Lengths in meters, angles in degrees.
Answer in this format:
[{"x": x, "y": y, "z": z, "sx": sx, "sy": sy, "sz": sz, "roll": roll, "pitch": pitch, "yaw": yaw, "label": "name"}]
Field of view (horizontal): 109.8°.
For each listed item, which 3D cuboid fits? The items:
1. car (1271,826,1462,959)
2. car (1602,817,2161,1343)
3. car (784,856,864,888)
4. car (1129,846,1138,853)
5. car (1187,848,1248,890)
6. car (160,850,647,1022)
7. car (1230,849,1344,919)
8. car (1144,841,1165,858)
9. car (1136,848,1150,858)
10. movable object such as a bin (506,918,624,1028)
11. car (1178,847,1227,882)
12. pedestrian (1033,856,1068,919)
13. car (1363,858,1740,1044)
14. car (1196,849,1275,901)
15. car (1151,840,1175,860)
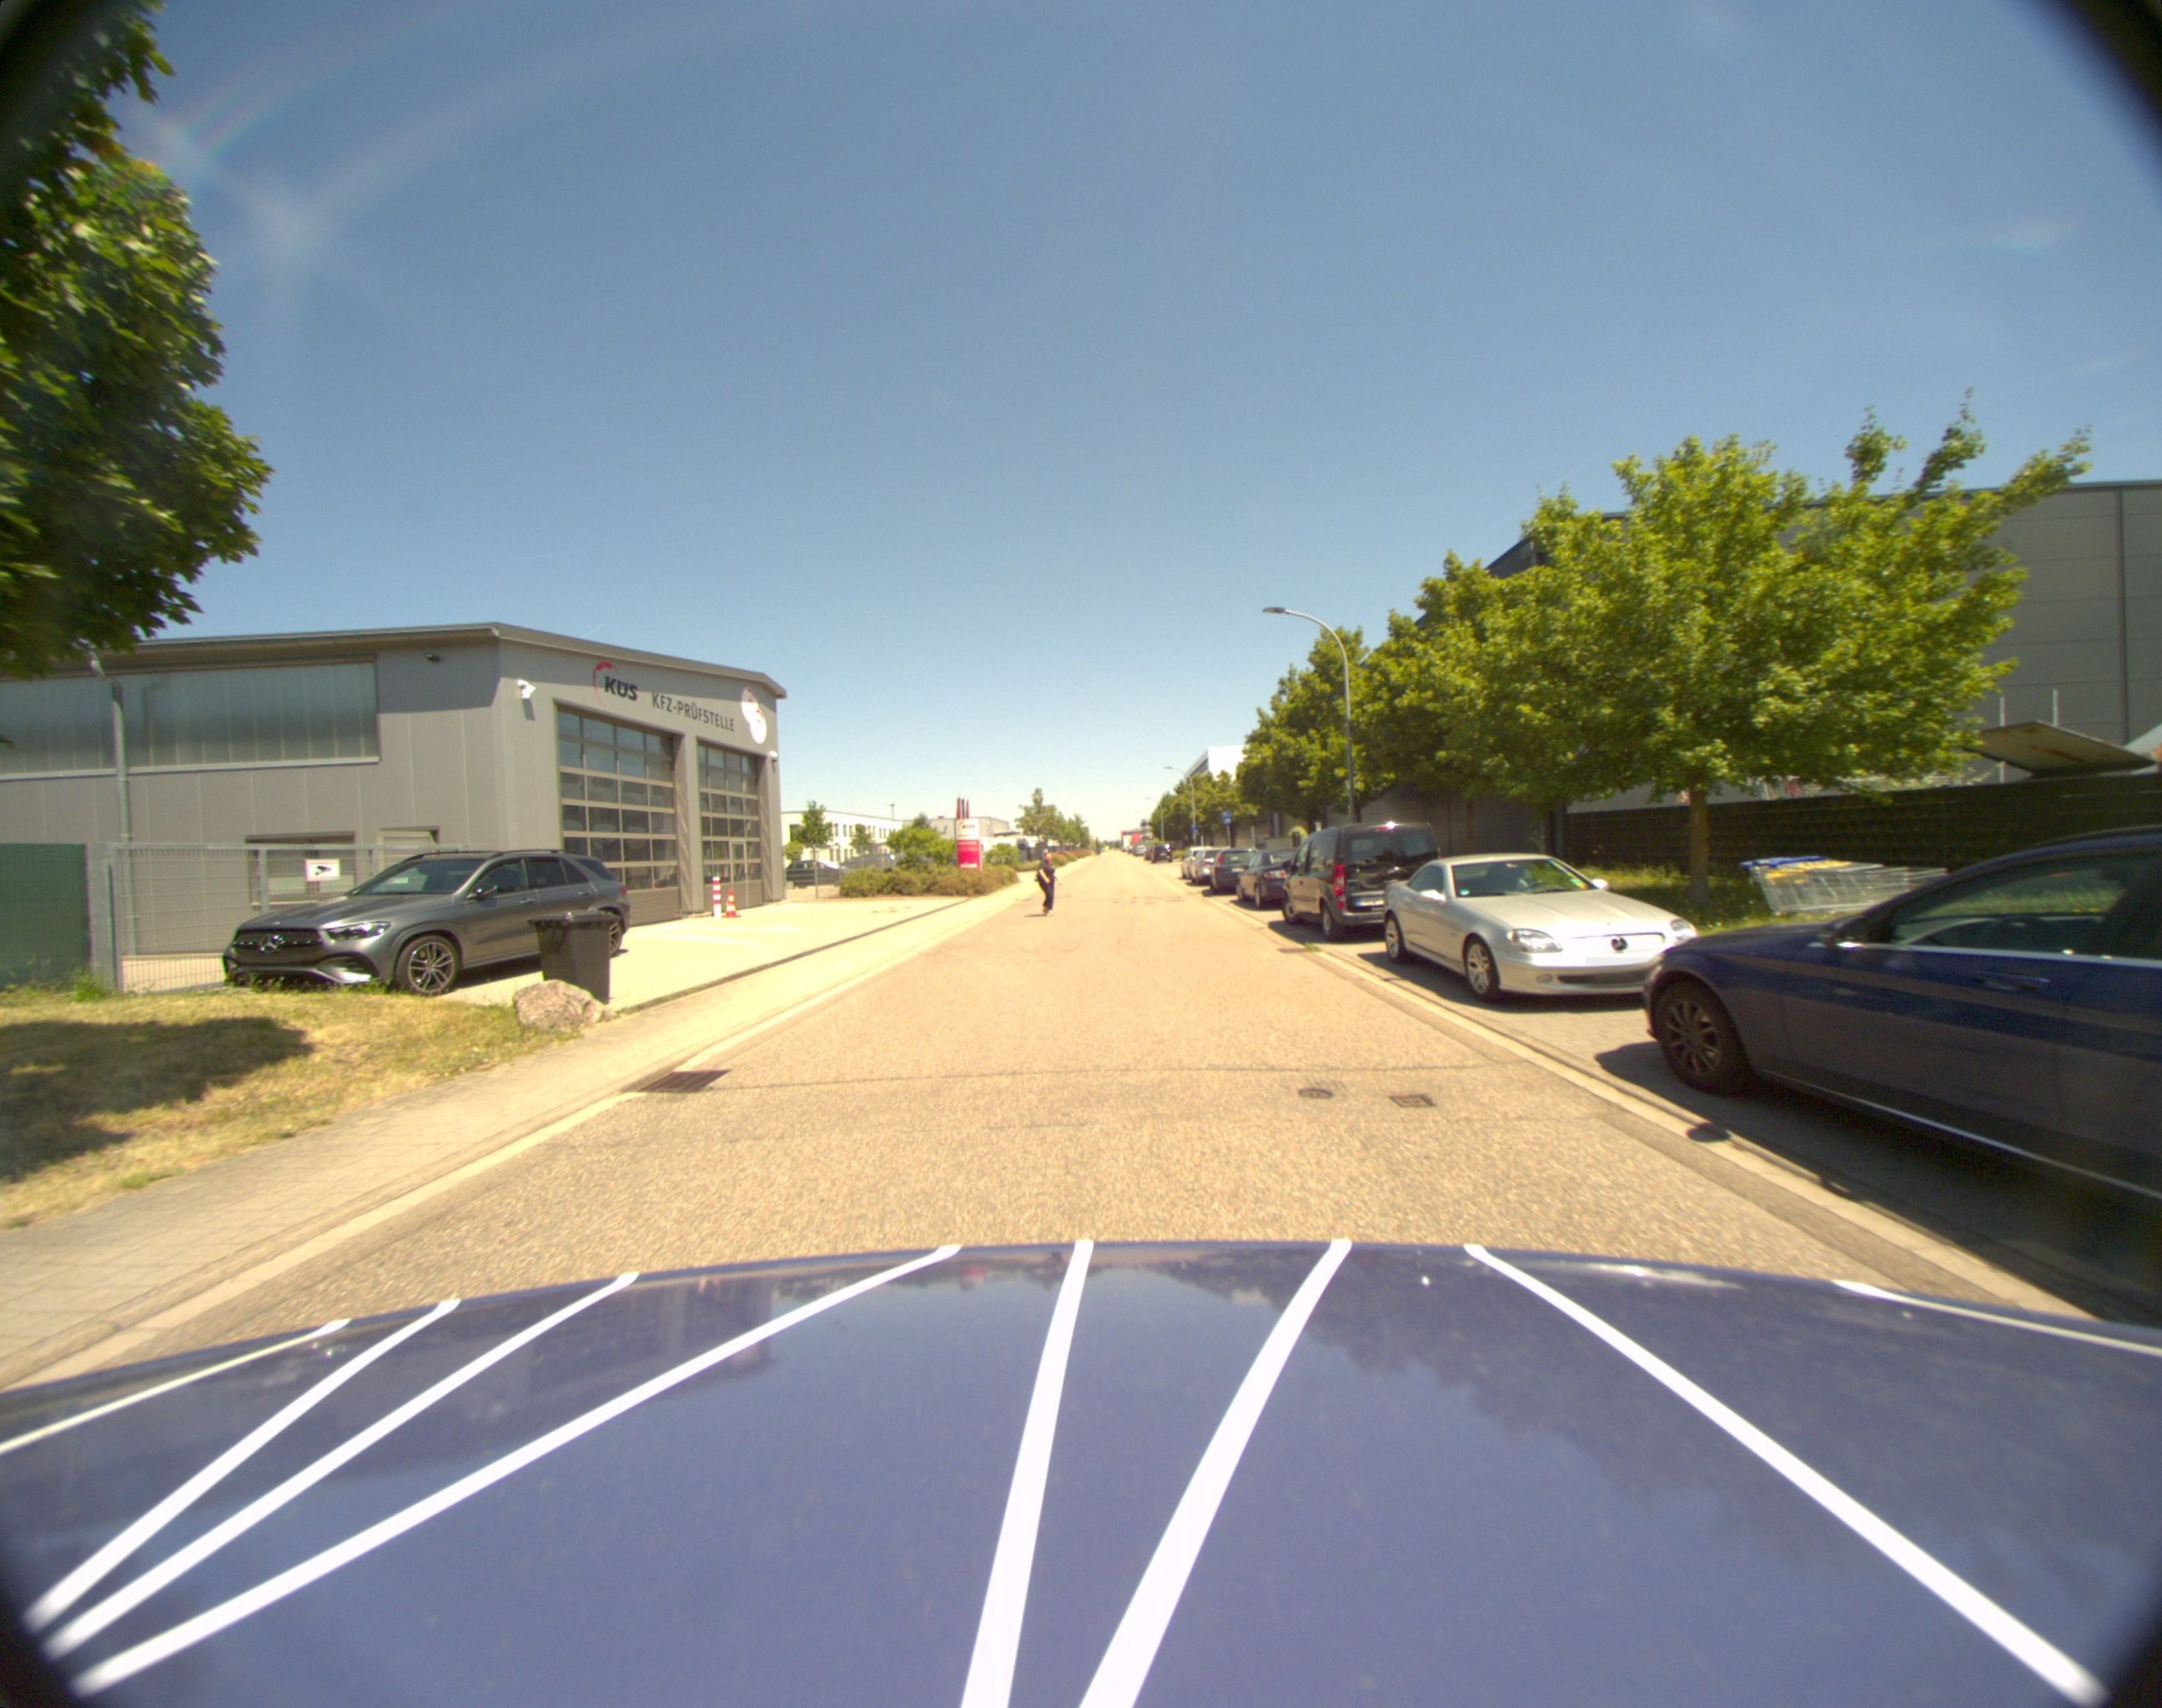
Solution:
[{"x": 4.593, "y": 0.539, "z": 12.923, "sx": 1.835, "sy": 1.800, "sz": 4.083, "roll": -4, "pitch": 0, "yaw": 4, "label": "car"}, {"x": 4.180, "y": 0.663, "z": 2.550, "sx": 1.835, "sy": 1.532, "sz": 4.625, "roll": -4, "pitch": 0, "yaw": 4, "label": "car"}, {"x": -12.782, "y": 0.882, "z": 37.964, "sx": 3.359, "sy": 1.361, "sz": 1.792, "roll": -3, "pitch": 1, "yaw": -2, "label": "car"}, {"x": 11.899, "y": -1.037, "z": 171.820, "sx": 1.798, "sy": 1.319, "sz": 3.831, "roll": -4, "pitch": 0, "yaw": 2, "label": "car"}, {"x": 5.521, "y": 0.550, "z": 31.213, "sx": 1.798, "sy": 1.477, "sz": 4.190, "roll": -4, "pitch": 0, "yaw": 2, "label": "car"}, {"x": -8.791, "y": 0.889, "z": 10.715, "sx": 2.156, "sy": 1.800, "sz": 4.915, "roll": -1, "pitch": 1, "yaw": 5, "label": "car"}, {"x": 5.076, "y": 0.653, "z": 19.354, "sx": 1.798, "sy": 1.456, "sz": 4.452, "roll": -4, "pitch": 0, "yaw": 3, "label": "car"}, {"x": 7.671, "y": -0.471, "z": 79.758, "sx": 1.798, "sy": 1.701, "sz": 3.831, "roll": -4, "pitch": 0, "yaw": 2, "label": "car"}, {"x": 8.944, "y": -0.157, "z": 109.546, "sx": 1.798, "sy": 1.319, "sz": 3.831, "roll": -4, "pitch": 0, "yaw": 2, "label": "car"}, {"x": -5.534, "y": 1.249, "z": 8.188, "sx": 0.616, "sy": 1.040, "sz": 0.810, "roll": -1, "pitch": 1, "yaw": 15, "label": "movable object such as a bin"}, {"x": 5.869, "y": 0.471, "z": 37.132, "sx": 1.798, "sy": 1.477, "sz": 3.969, "roll": -4, "pitch": 0, "yaw": 2, "label": "car"}, {"x": -0.775, "y": 0.827, "z": 19.095, "sx": 0.682, "sy": 1.559, "sz": 0.533, "roll": -1, "pitch": 1, "yaw": -32, "label": "pedestrian"}, {"x": 4.409, "y": 0.776, "z": 7.941, "sx": 1.647, "sy": 1.303, "sz": 4.001, "roll": -4, "pitch": 0, "yaw": 5, "label": "car"}, {"x": 5.047, "y": 0.627, "z": 25.385, "sx": 1.798, "sy": 1.477, "sz": 4.452, "roll": -4, "pitch": 0, "yaw": 2, "label": "car"}, {"x": 7.319, "y": -0.329, "z": 68.081, "sx": 1.798, "sy": 1.638, "sz": 3.831, "roll": -4, "pitch": 0, "yaw": 2, "label": "car"}]
